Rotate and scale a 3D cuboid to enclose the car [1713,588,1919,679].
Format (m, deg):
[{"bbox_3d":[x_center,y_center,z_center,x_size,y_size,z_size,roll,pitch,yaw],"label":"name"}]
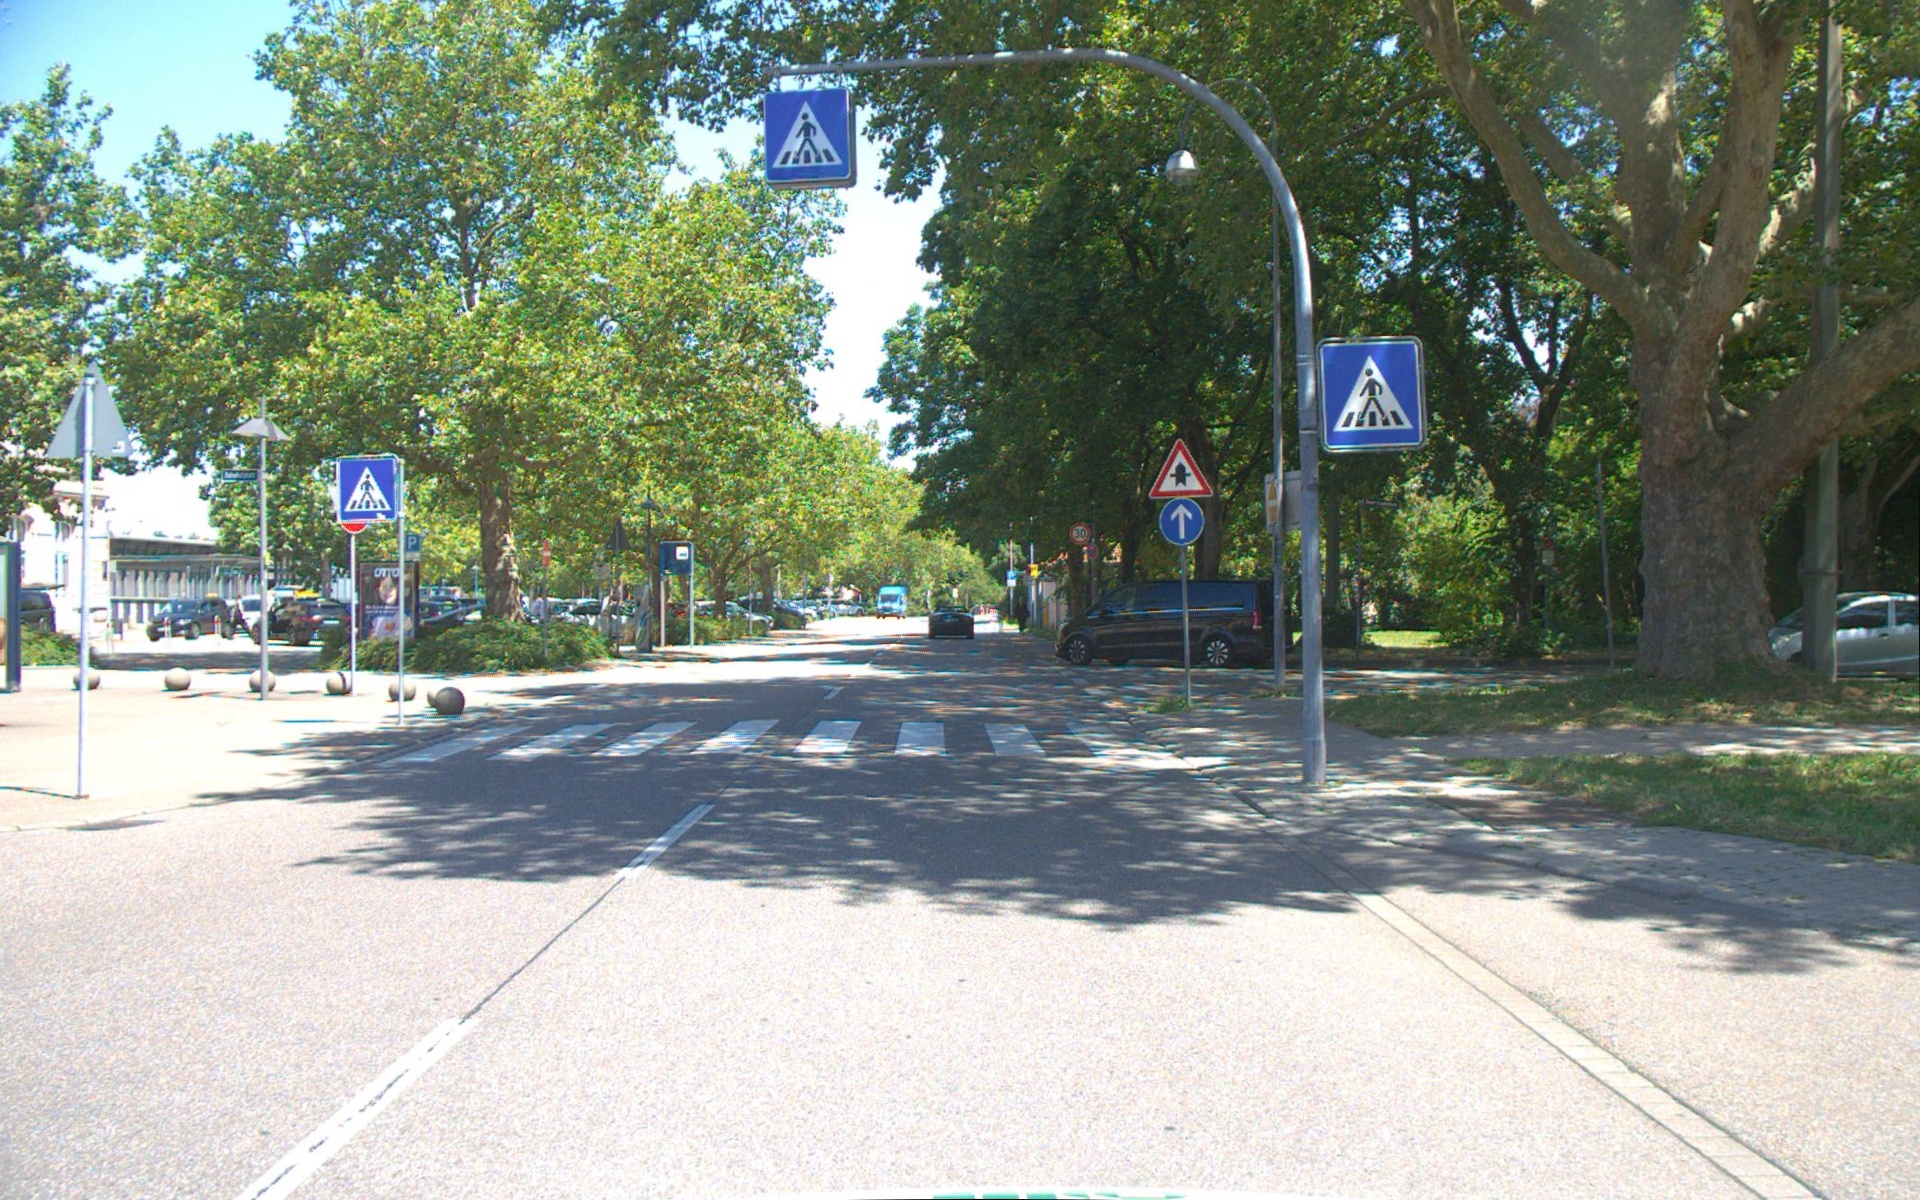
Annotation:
[{"bbox_3d":[15.253,0.570,28.078,4.020,1.492,2.000,0,-1,1],"label":"car"}]

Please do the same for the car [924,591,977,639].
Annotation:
[{"bbox_3d":[-0.363,0.612,67.811,2.081,1.881,4.048,0,0,0],"label":"car"}]

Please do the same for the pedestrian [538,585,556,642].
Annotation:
[{"bbox_3d":[-14.993,0.487,60.029,0.614,2.049,0.568,0,-2,-15],"label":"pedestrian"}]

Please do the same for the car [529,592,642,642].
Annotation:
[{"bbox_3d":[-13.981,0.631,61.670,3.926,1.813,1.989,0,-1,-19],"label":"car"}]

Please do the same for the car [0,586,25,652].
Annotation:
[{"bbox_3d":[-30.743,0.588,50.676,1.953,2.049,3.999,-1,-1,-1],"label":"car"}]
